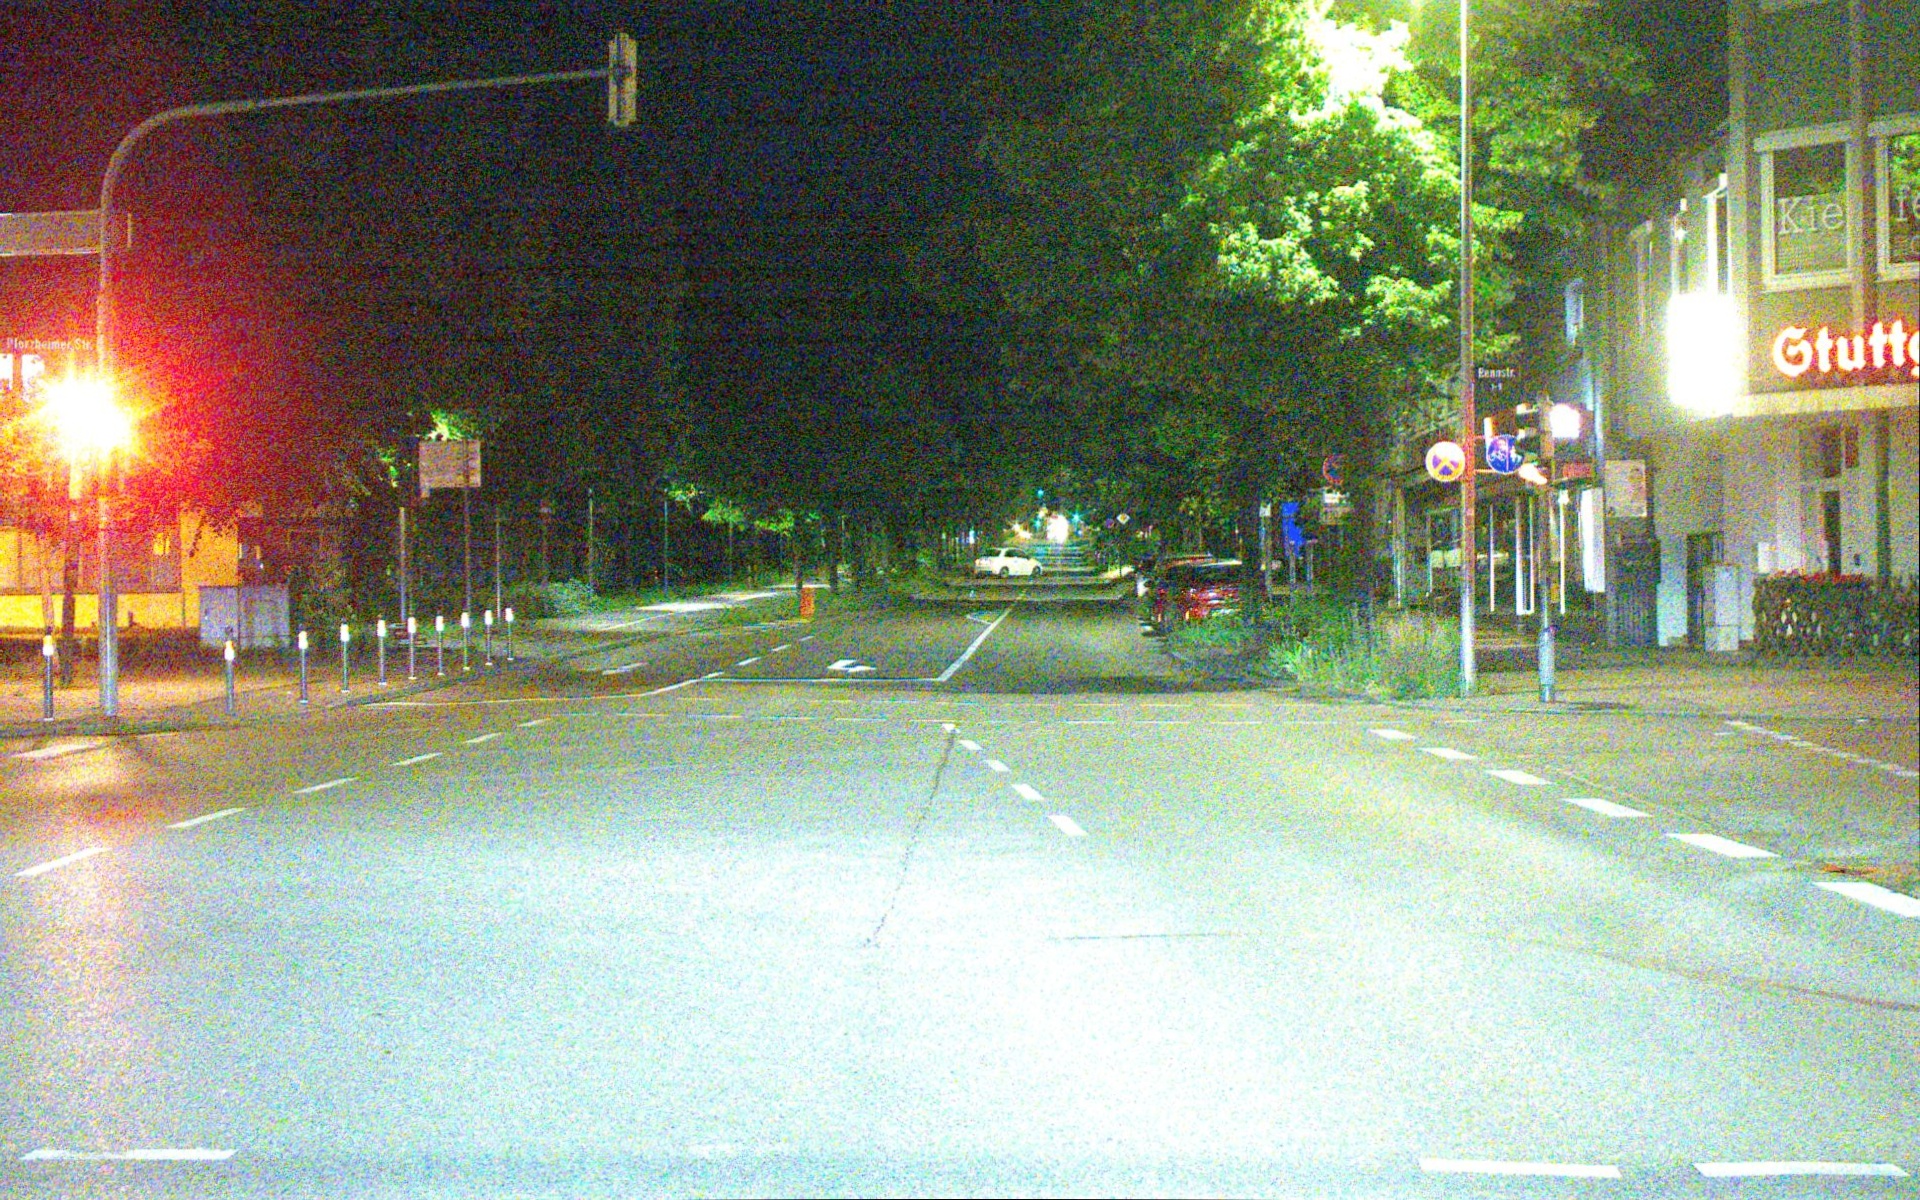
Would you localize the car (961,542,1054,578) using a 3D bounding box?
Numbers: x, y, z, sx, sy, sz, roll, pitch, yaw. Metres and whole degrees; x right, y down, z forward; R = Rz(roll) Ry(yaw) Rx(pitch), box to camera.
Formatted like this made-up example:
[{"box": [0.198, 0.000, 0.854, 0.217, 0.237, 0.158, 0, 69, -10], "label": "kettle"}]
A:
[{"box": [2.227, -1.866, 160.494, 2.233, 1.645, 3.989, 1, 1, 45], "label": "car"}]

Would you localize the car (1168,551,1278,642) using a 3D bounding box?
[{"box": [4.846, -0.086, 63.860, 1.876, 1.610, 4.000, 0, 1, 2], "label": "car"}]

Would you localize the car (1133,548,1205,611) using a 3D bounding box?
[{"box": [5.737, -0.581, 94.557, 1.876, 1.678, 4.000, 0, 1, 2], "label": "car"}]

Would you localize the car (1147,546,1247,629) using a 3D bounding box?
[{"box": [4.707, -0.261, 68.800, 1.876, 1.610, 4.000, 0, 1, 2], "label": "car"}]

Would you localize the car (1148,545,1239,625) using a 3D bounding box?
[{"box": [5.166, -0.342, 76.471, 1.876, 1.723, 4.000, 0, 1, 2], "label": "car"}]
